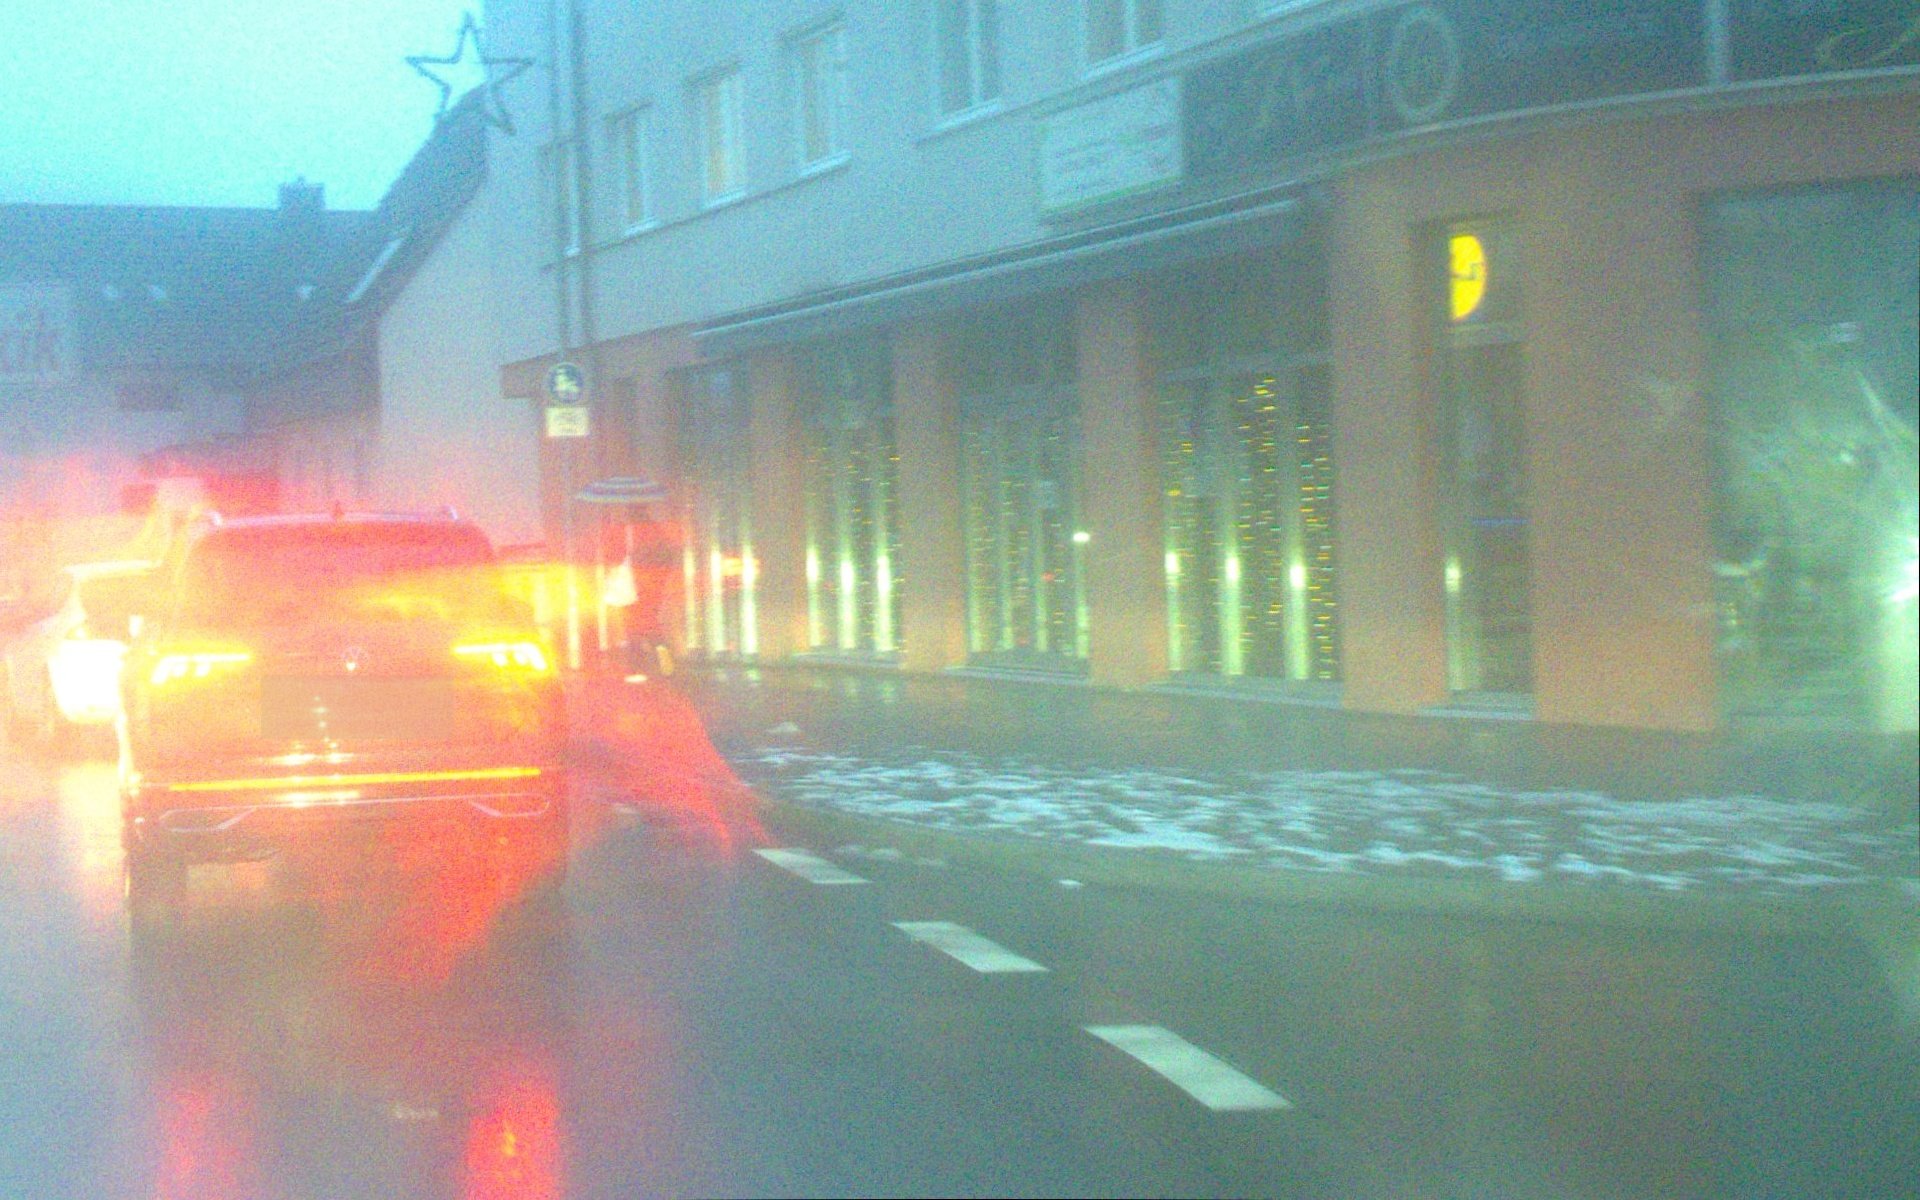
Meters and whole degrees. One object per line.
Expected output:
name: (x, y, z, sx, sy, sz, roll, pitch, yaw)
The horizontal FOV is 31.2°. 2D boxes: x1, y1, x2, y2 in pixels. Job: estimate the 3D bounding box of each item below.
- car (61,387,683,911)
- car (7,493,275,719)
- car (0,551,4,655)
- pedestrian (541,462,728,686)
car: (-2.777, 0.143, 15.812, 2.309, 1.932, 5.020, -2, 1, -12)
car: (-6.592, 0.000, 27.414, 1.857, 1.641, 4.001, -1, 1, -16)
car: (-13.952, -0.243, 44.602, 2.309, 1.932, 5.019, -3, 1, -23)
pedestrian: (-2.891, -0.240, 30.417, 1.254, 1.859, 1.303, -4, 2, -20)
